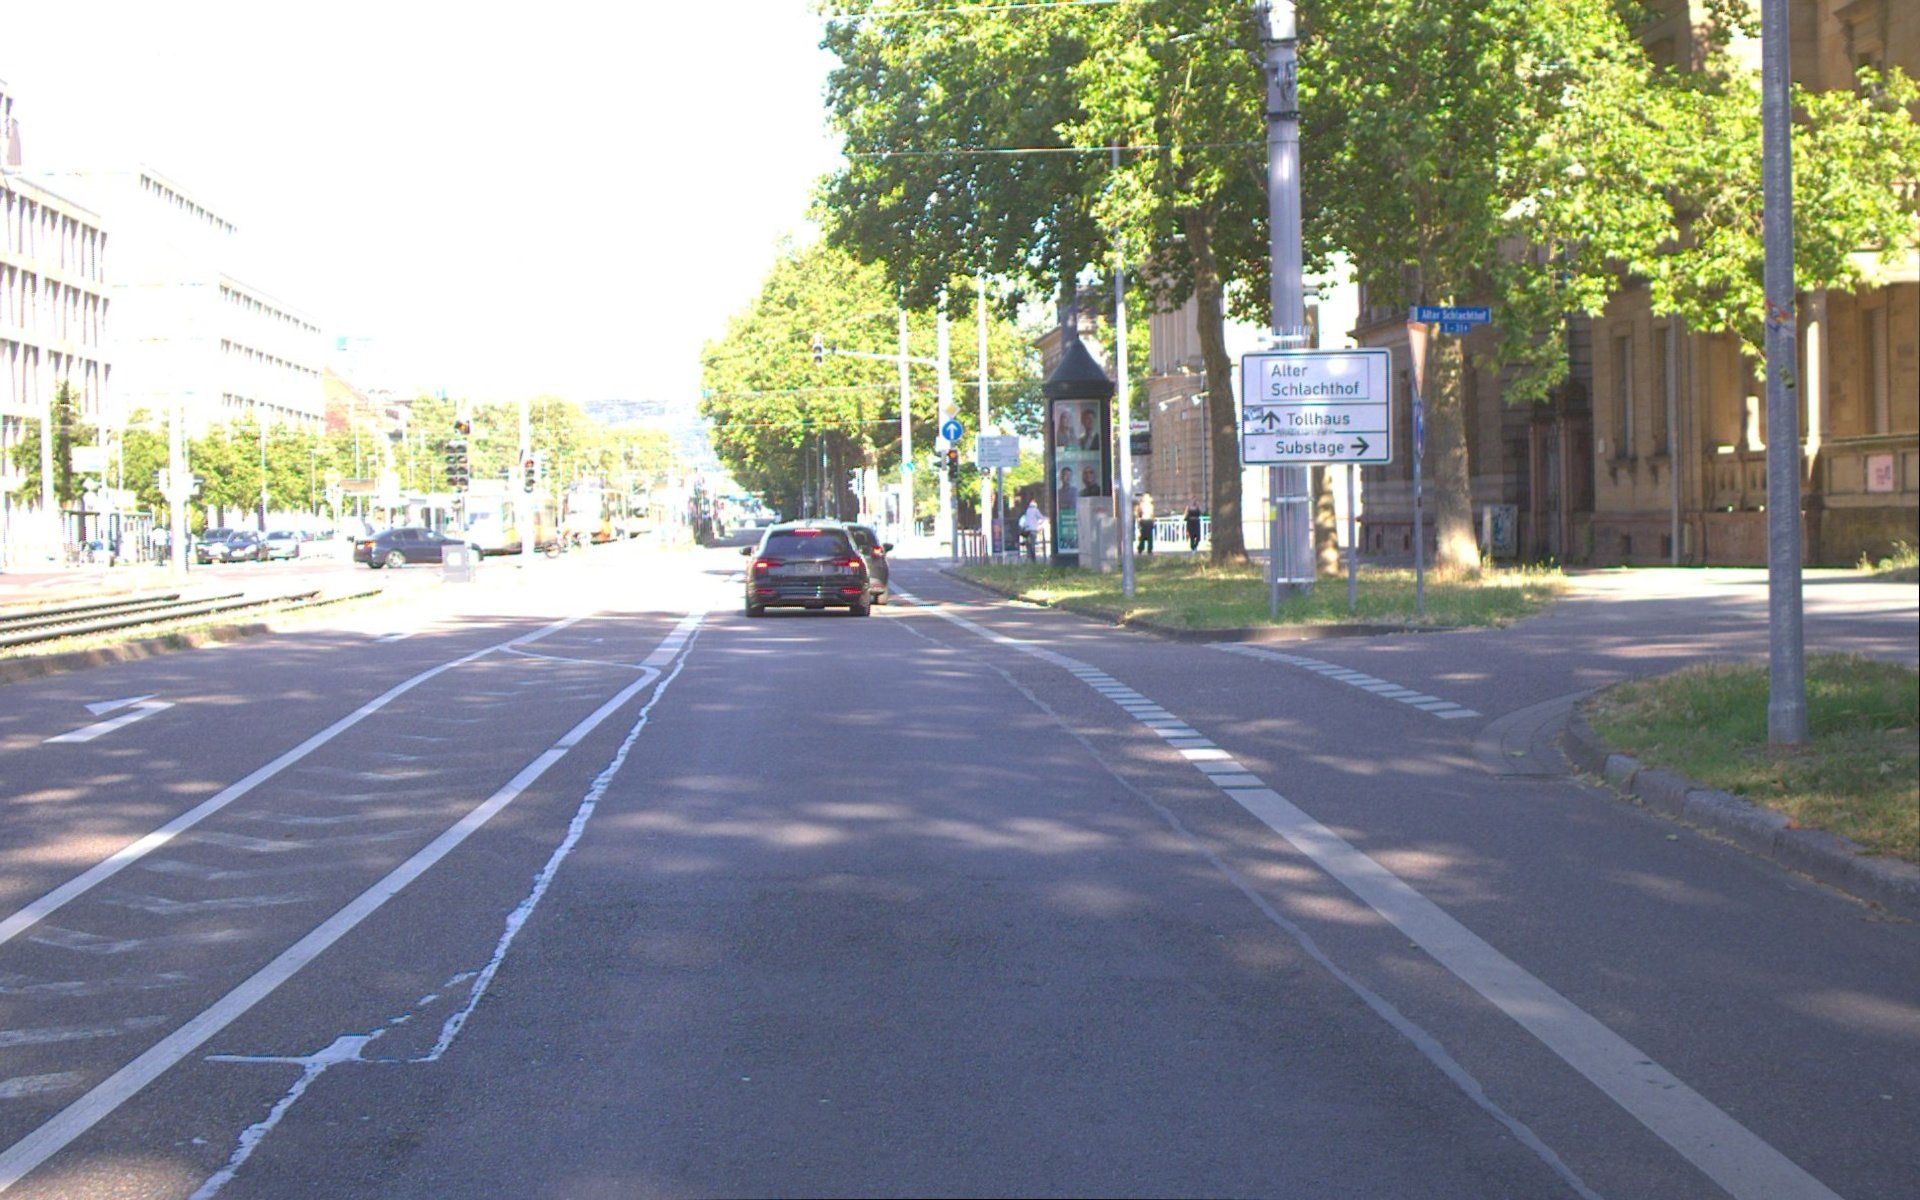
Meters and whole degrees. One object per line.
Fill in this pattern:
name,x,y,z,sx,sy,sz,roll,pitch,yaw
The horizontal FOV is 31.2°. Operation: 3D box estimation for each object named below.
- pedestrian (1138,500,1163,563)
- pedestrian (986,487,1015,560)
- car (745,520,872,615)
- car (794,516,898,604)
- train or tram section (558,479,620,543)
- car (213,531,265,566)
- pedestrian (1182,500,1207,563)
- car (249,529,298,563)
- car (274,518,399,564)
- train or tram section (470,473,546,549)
pedestrian,5.246,-1.899,94.586,0.588,1.722,0.650,1,1,9
pedestrian,0.977,-1.831,82.191,0.588,1.722,0.650,1,1,9
car,-2.372,-0.528,52.924,1.833,1.386,4.160,-1,1,-4
car,-2.099,-0.742,62.565,1.794,1.505,4.001,-1,1,-3
train or tram section,-20.942,-5.027,194.436,2.825,3.439,9.065,-1,1,-2
car,-31.893,-2.292,152.230,1.794,1.505,4.001,-1,1,-6
pedestrian,6.430,-1.884,94.397,0.588,1.722,0.650,1,1,11
car,-31.747,-2.531,159.043,1.794,1.505,4.001,-1,1,-6
car,-21.294,-2.012,117.464,1.798,1.505,3.991,1,1,39
train or tram section,-21.400,-4.198,163.116,2.825,3.439,9.065,-1,1,-3
